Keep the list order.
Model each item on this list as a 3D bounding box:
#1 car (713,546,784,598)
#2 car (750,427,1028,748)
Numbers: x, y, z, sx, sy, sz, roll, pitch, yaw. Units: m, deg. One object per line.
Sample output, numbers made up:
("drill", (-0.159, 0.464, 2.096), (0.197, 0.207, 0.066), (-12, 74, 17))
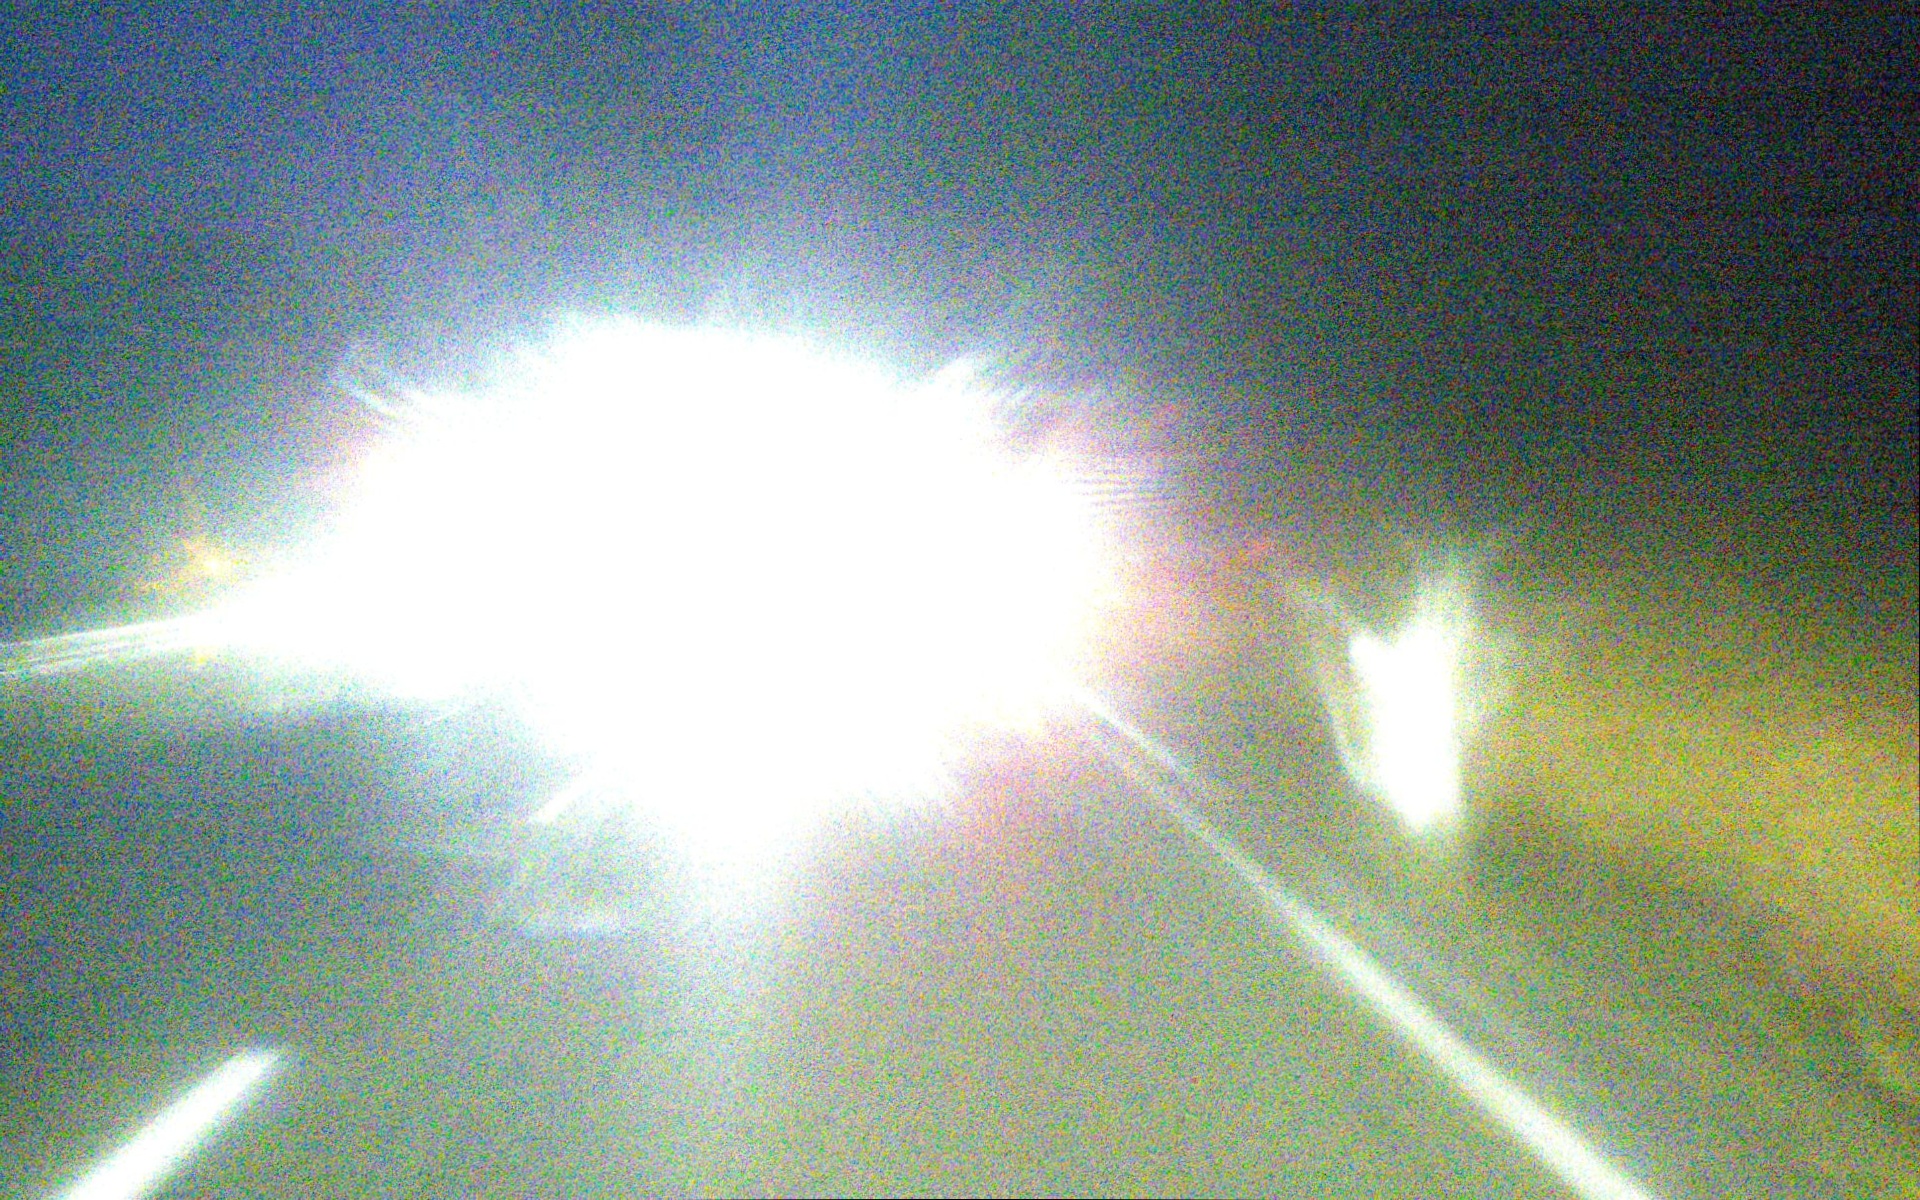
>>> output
("car", (-6.286, -0.857, 102.581), (1.974, 1.511, 4.347), (0, 1, -2))
("car", (-0.632, -0.201, 30.443), (2.181, 2.548, 4.509), (2, 3, -1))
